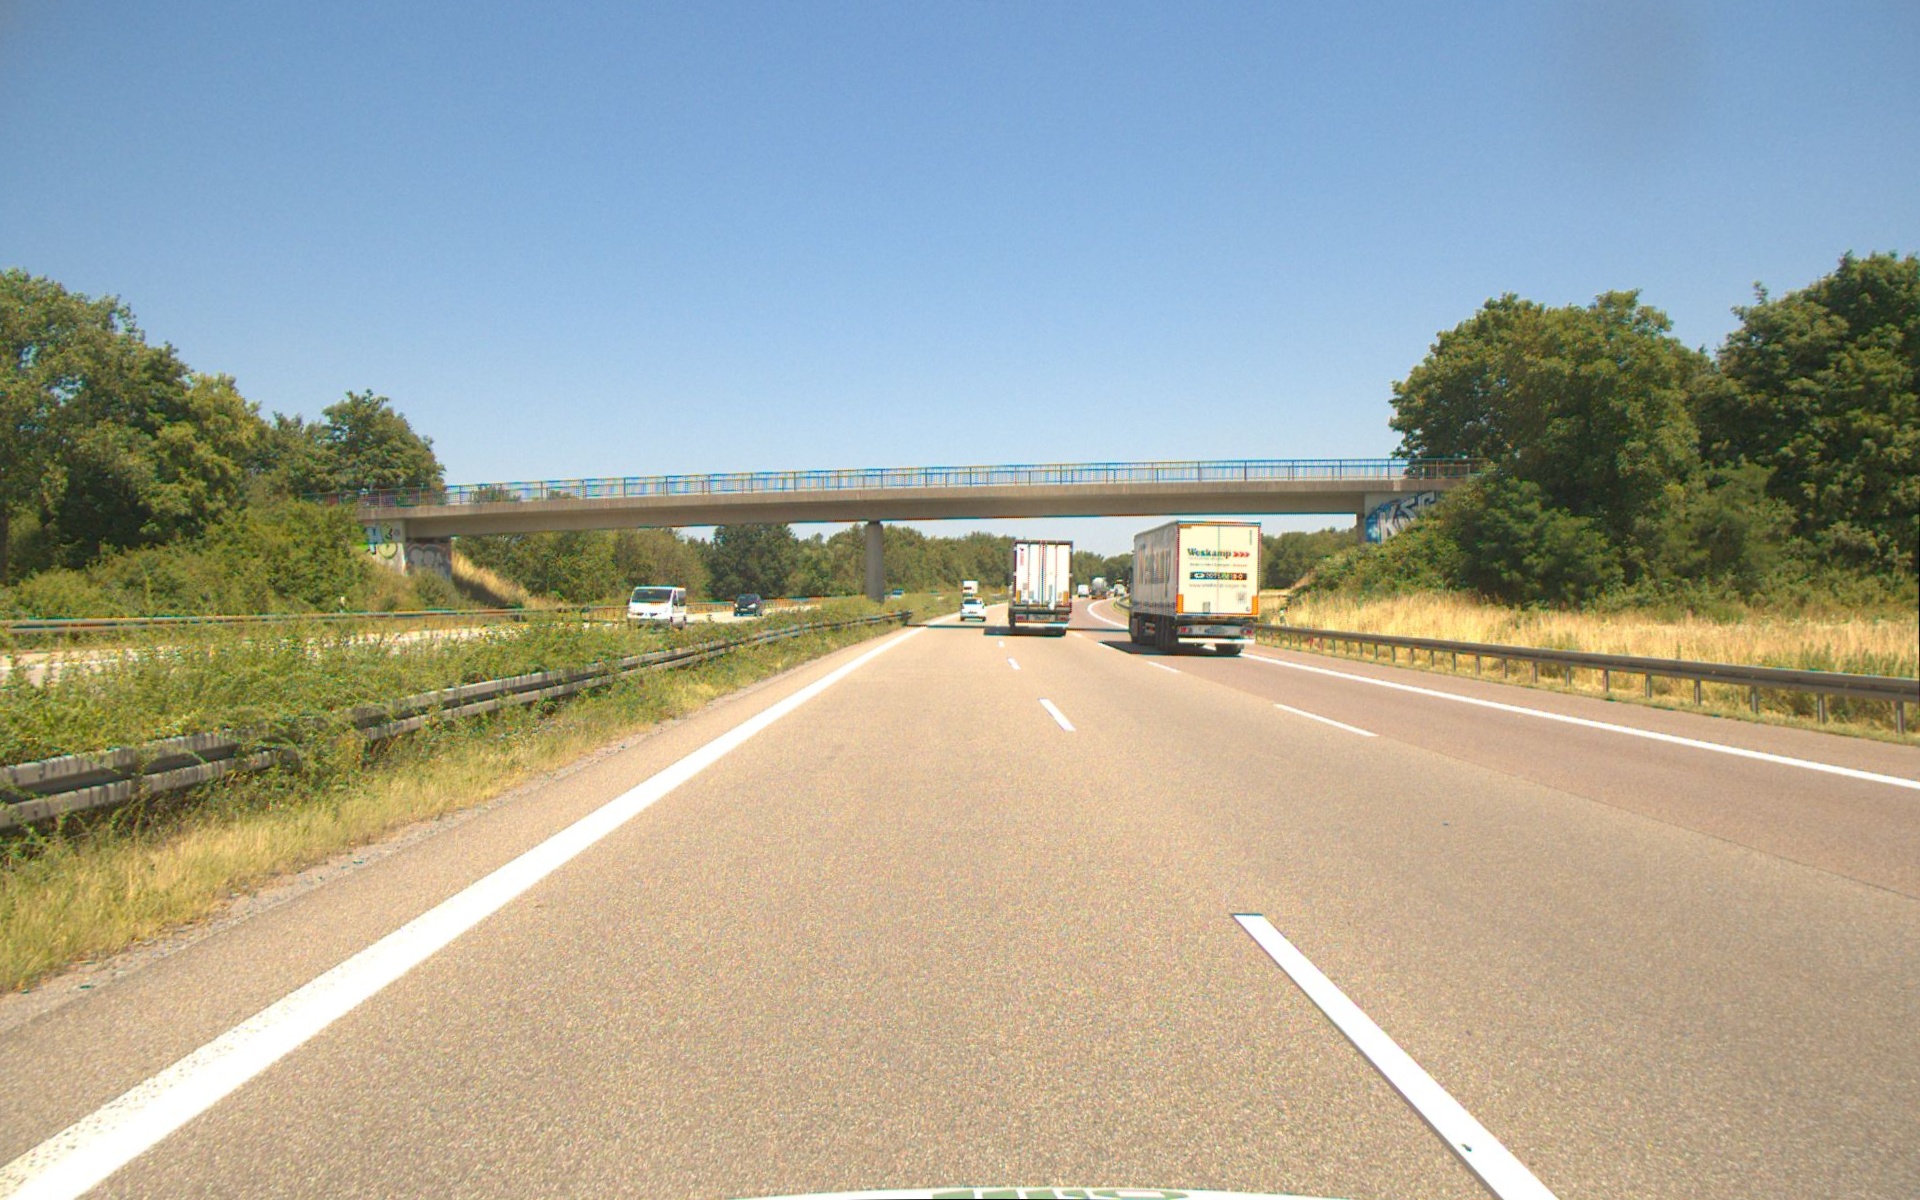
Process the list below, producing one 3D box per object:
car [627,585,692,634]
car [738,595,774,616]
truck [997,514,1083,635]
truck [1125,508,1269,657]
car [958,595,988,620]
[{"bbox_3d":[-12.983,0.403,71.765,1.790,2.049,5.330,1,0,0],"label":"car"},{"bbox_3d":[-14.740,0.406,119.952,1.789,1.487,4.321,1,0,4],"label":"car"},{"bbox_3d":[3.656,-1.143,78.324,3.590,5.106,16.021,1,0,2],"label":"truck"},{"bbox_3d":[7.838,-0.583,57.077,3.115,4.379,16.021,1,0,2],"label":"truck"},{"bbox_3d":[0.897,0.514,109.464,1.790,1.574,4.320,1,0,3],"label":"car"}]
